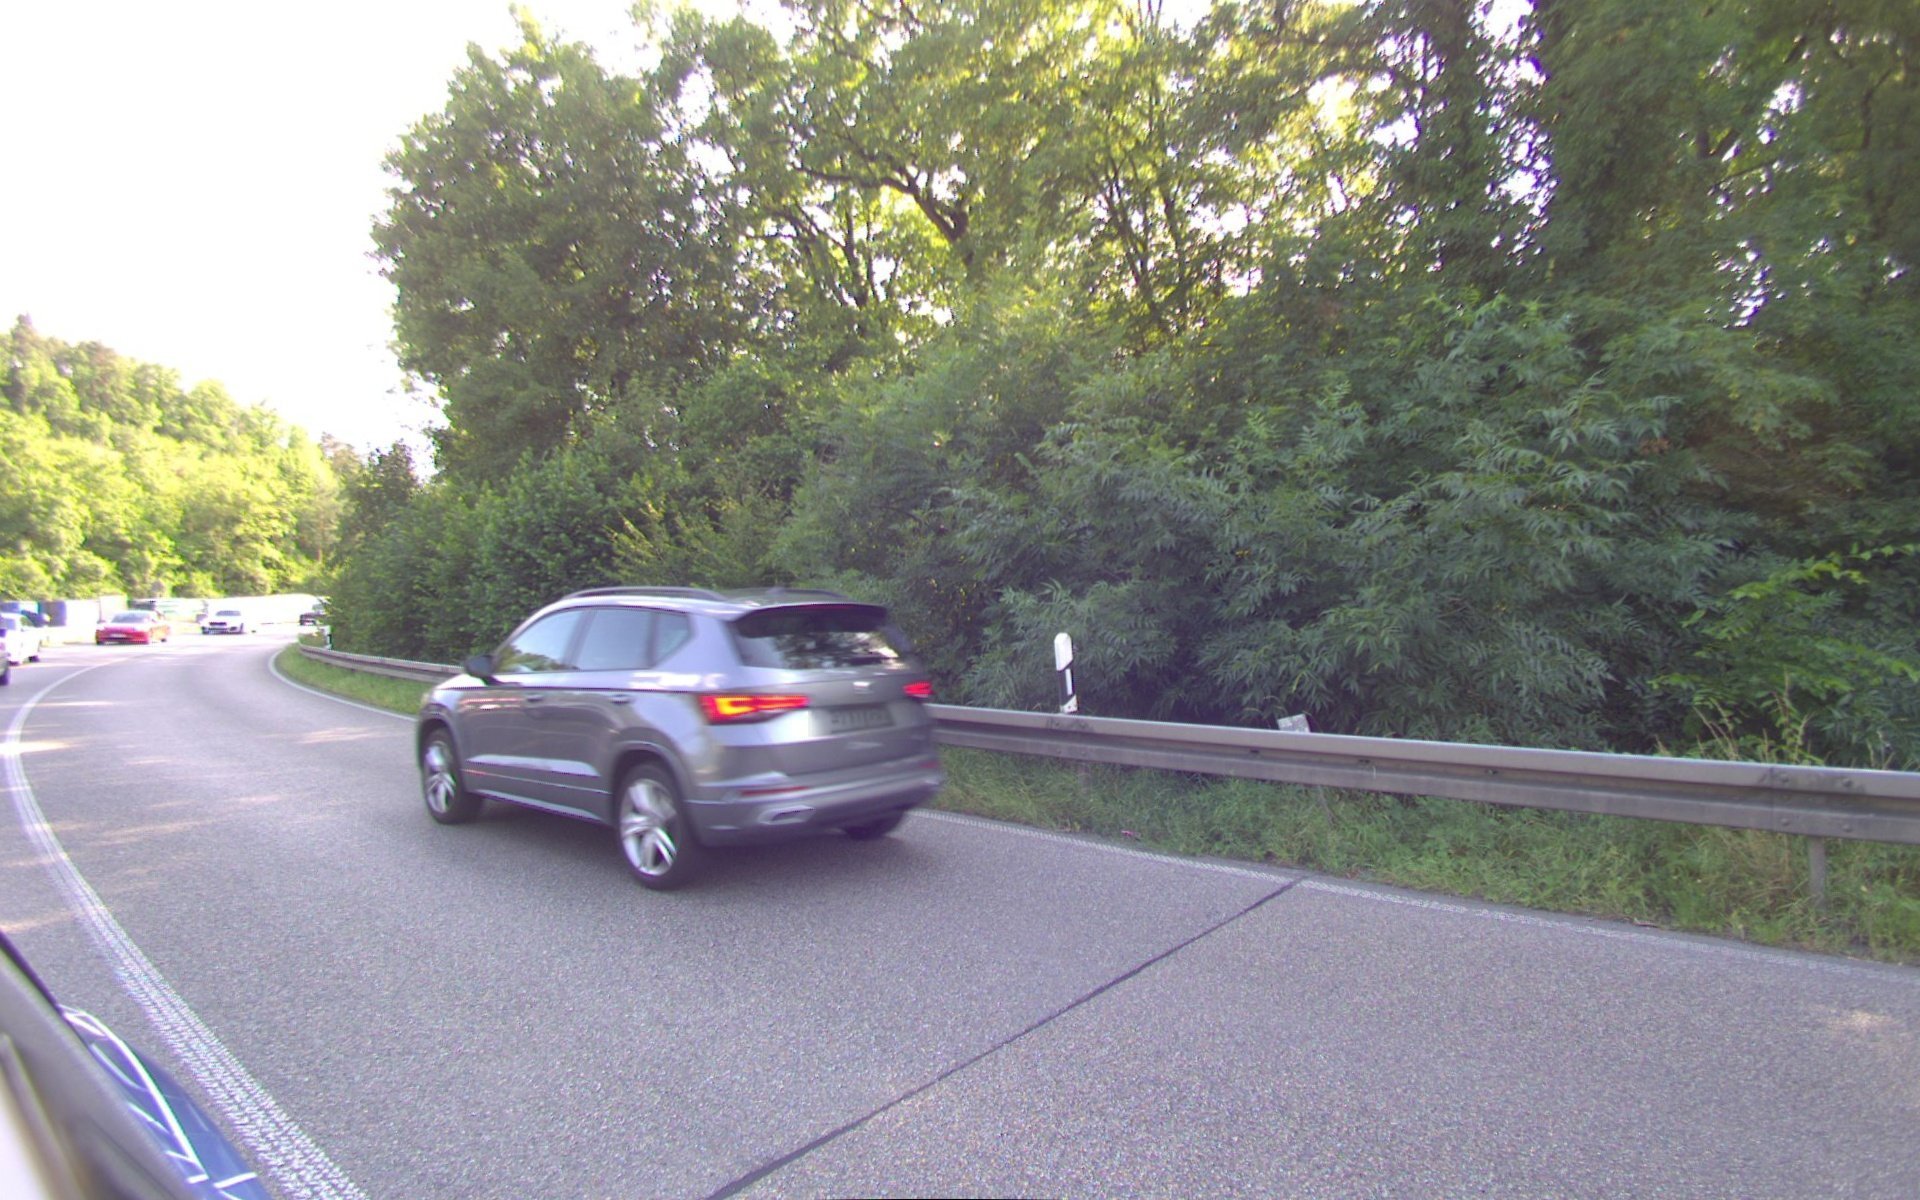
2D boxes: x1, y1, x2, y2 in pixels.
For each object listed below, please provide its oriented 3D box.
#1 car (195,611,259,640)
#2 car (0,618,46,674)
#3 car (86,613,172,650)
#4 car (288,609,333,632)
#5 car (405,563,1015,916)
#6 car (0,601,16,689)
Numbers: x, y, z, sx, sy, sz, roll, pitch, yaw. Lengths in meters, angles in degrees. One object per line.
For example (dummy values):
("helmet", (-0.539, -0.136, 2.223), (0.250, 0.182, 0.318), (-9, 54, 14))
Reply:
("car", (-42.155, 1.446, 58.271), (1.884, 1.476, 4.552), (-3, 1, -22))
("car", (-27.466, 1.295, 28.631), (1.867, 1.456, 4.486), (-3, 1, -36))
("car", (-36.203, 1.315, 44.219), (1.828, 1.431, 4.434), (-1, 0, -25))
("car", (-48.920, 1.516, 76.311), (1.829, 1.608, 4.552), (-3, 1, -20))
("car", (-1.803, 0.688, 6.547), (3.997, 1.577, 1.848), (-3, -2, 41))
("car", (-19.783, 0.905, 19.511), (1.839, 1.733, 4.773), (0, 0, -38))
